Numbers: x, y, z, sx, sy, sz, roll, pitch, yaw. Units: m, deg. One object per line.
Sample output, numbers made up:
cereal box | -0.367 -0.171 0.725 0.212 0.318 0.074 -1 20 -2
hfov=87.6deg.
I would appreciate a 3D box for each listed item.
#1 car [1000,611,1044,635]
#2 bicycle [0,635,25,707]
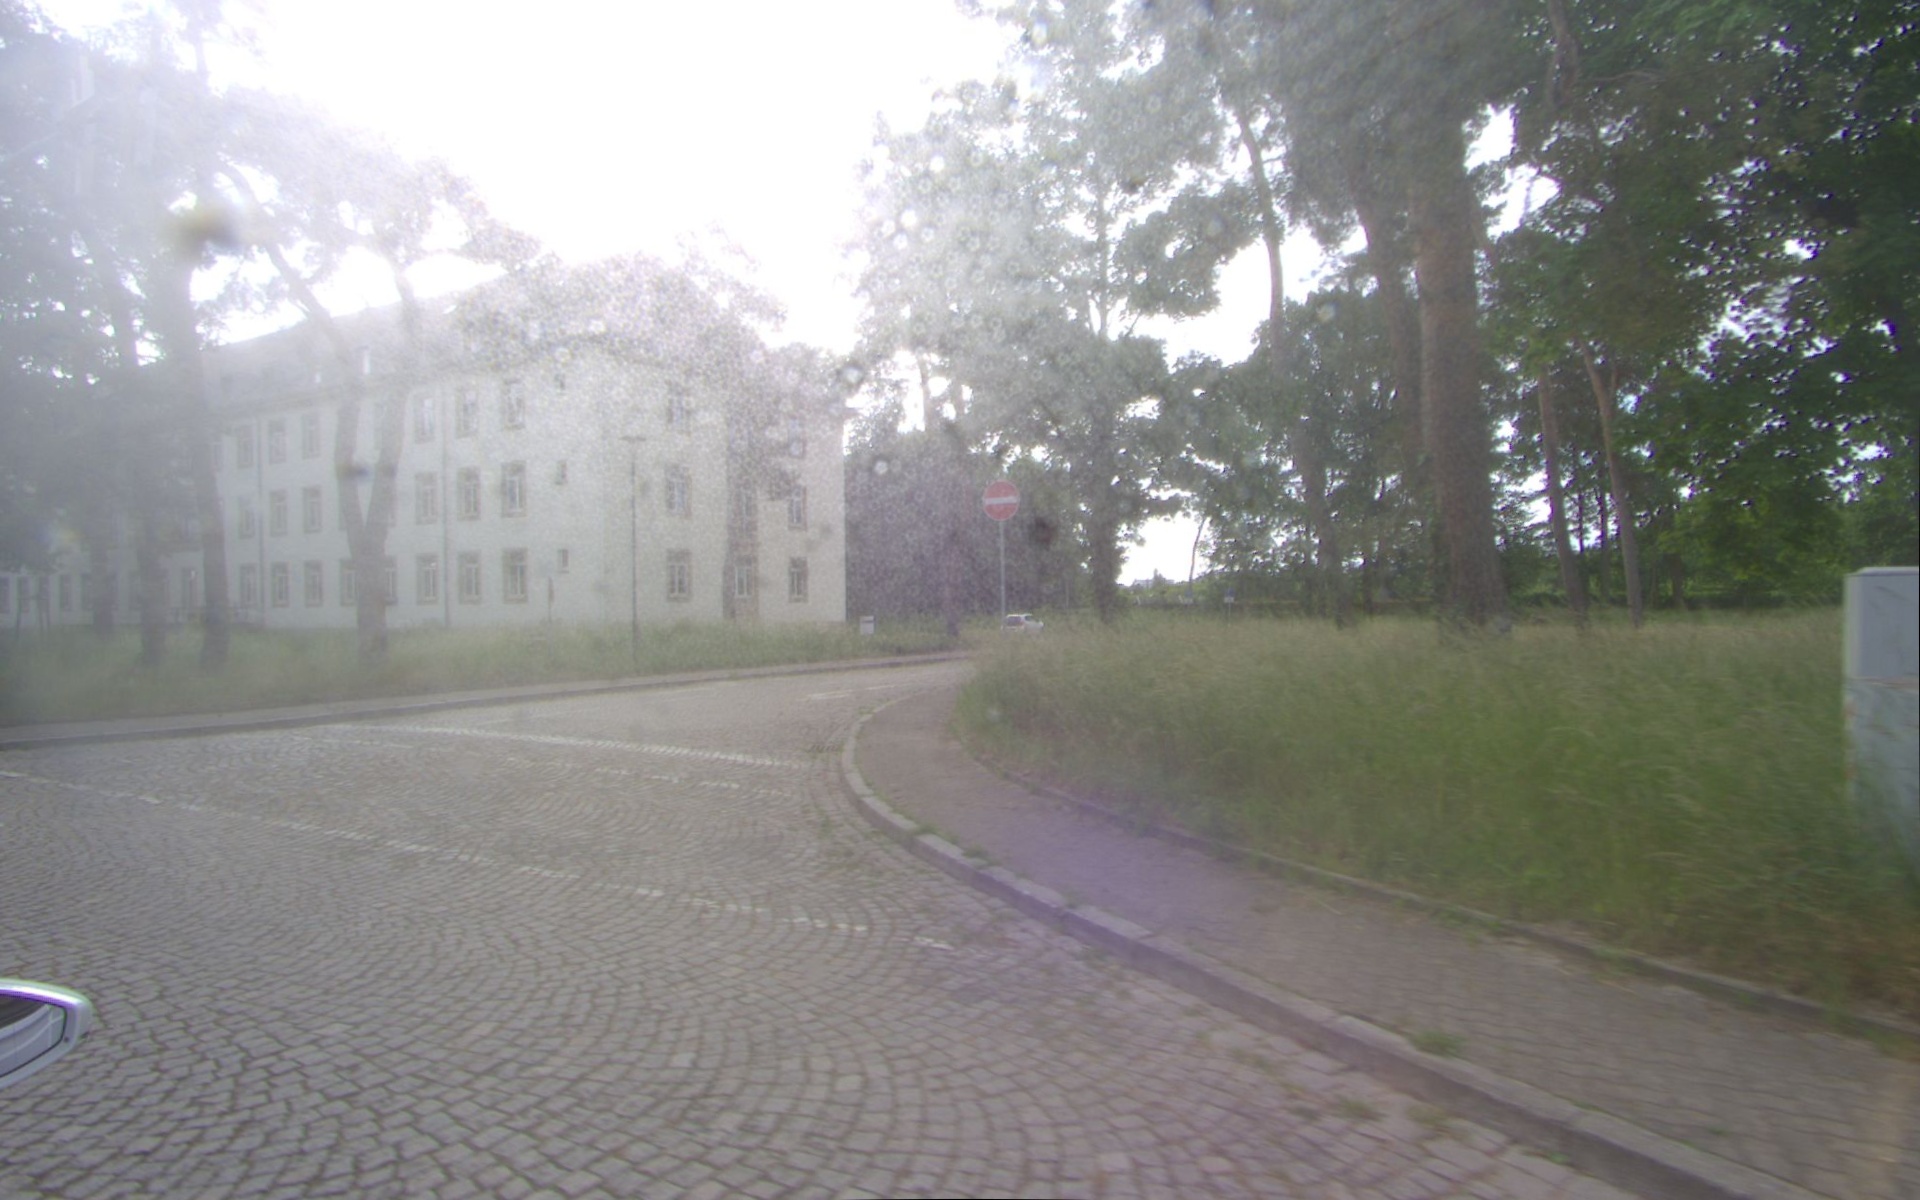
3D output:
car | 3.850 1.409 61.448 1.466 1.455 3.182 -1 -2 29
bicycle | -14.395 1.019 14.684 1.653 0.983 0.579 1 3 33
